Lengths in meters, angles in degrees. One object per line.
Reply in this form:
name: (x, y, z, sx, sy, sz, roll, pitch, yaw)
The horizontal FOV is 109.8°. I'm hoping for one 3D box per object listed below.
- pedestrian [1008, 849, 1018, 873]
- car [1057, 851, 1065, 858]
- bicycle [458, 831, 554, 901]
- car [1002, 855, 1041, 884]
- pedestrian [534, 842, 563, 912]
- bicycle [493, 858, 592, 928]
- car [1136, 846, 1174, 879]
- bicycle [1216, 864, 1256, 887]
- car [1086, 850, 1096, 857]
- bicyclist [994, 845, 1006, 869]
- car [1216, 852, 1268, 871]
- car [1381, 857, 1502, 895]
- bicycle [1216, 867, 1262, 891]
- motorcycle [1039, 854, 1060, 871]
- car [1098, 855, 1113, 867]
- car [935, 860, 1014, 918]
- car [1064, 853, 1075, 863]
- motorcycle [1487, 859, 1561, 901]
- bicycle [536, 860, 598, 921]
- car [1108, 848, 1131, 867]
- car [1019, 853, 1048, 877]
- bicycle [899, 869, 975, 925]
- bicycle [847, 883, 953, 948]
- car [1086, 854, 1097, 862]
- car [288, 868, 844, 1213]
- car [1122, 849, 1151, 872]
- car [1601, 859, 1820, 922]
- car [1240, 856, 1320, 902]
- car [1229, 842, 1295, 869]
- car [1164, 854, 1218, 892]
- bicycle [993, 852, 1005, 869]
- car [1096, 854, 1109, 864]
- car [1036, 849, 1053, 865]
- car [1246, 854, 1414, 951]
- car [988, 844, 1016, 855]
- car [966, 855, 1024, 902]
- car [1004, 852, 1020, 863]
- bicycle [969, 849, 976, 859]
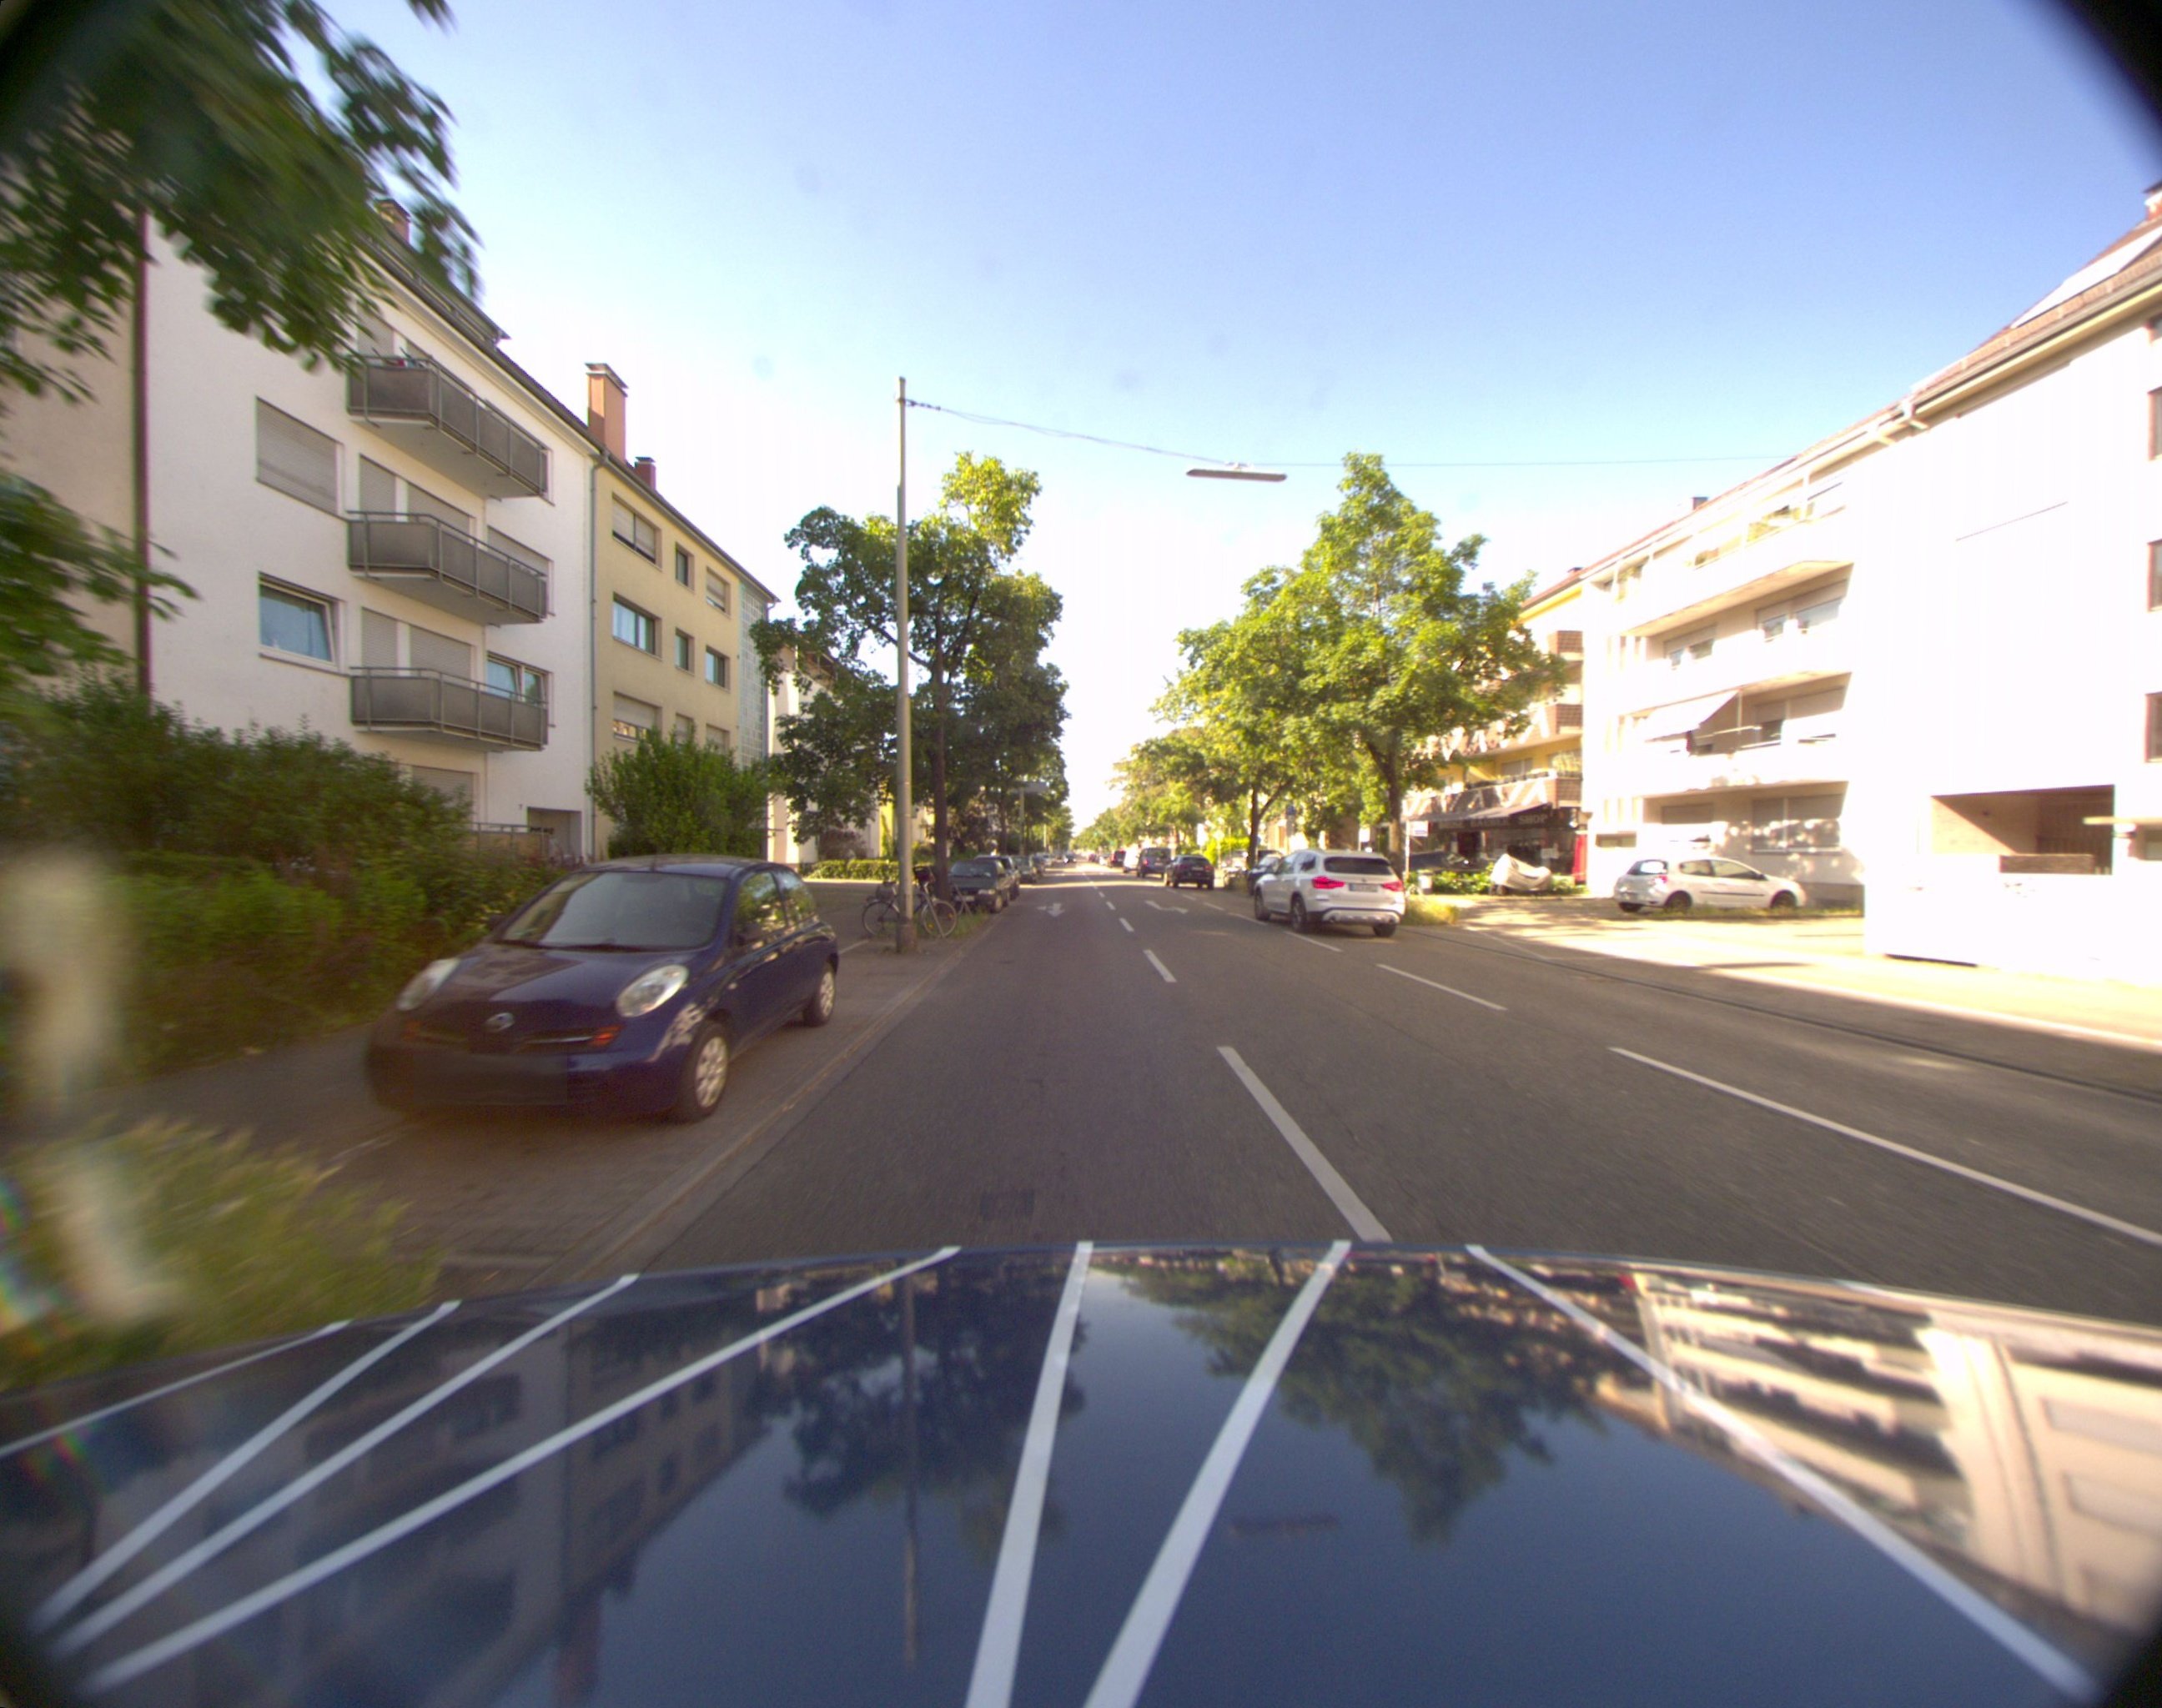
pedestrian: (-4.780, 0.463, 53.431, 0.671, 1.672, 0.775, 1, 1, -1)
car: (-4.917, 0.101, 185.436, 1.823, 1.542, 4.303, 1, 0, 0)
bicycle: (-11.447, 0.228, 15.199, 0.593, 1.280, 1.689, 3, 0, 0)
car: (-3.063, 0.765, 39.715, 1.696, 1.419, 4.147, 1, 0, 0)
pedestrian: (-13.401, 0.577, 19.128, 0.365, 1.727, 0.366, -3, 1, -7)
bicycle: (-10.705, 0.736, 15.183, 0.624, 1.280, 1.842, 3, 0, 0)
car: (4.680, 0.516, 48.771, 1.808, 1.900, 4.711, 3, 0, -1)
bicycle: (7.827, 1.092, 38.324, 1.932, 1.128, 0.463, 0, 0, 27)
car: (2.009, -0.068, 152.938, 1.585, 1.443, 3.743, 1, 0, -3)
bicyclist: (-6.138, 0.190, 57.456, 0.726, 1.783, 1.015, 2, 1, -1)
car: (13.025, 0.623, 61.590, 3.918, 1.480, 1.632, 0, 0, 0)
car: (14.112, 0.855, 29.948, 3.994, 1.452, 1.734, 0, 0, 8)
bicycle: (7.318, 1.159, 35.197, 2.025, 1.085, 0.463, 0, 0, 22)
motorcycle: (-2.585, 0.703, 61.933, 0.701, 1.264, 2.426, 2, 0, -28)
car: (3.209, 0.915, 99.980, 1.738, 1.404, 4.191, 3, 0, -1)
car: (-2.851, 0.905, 21.109, 1.616, 1.375, 3.975, 1, 0, 0)
car: (-1.726, 0.583, 114.990, 1.654, 1.348, 4.303, 1, 0, 0)
motorcycle: (15.822, 0.934, 27.191, 2.154, 1.477, 0.782, 0, 0, 8)
bicycle: (-11.324, 0.777, 16.730, 1.535, 1.215, 0.464, 3, 1, 30)
car: (4.049, 0.343, 80.661, 2.022, 1.940, 5.177, 2, 0, -2)
car: (-3.066, 0.693, 49.979, 1.590, 1.388, 4.453, 2, 0, 0)
bicycle: (-3.276, 0.959, 17.401, 1.671, 1.230, 0.470, 0, 1, -39)
bicycle: (-3.249, 1.085, 13.673, 1.743, 1.016, 0.524, 3, 3, 7)
car: (1.893, 0.769, 137.841, 1.585, 1.443, 3.743, 1, 0, -3)
car: (-2.999, 0.927, 5.425, 1.564, 1.506, 3.653, 3, 0, -3)
car: (4.446, 0.484, 61.486, 1.820, 1.733, 4.492, 3, 0, -1)
car: (15.732, 0.888, 19.132, 3.997, 1.478, 1.881, 0, 0, -2)
car: (7.448, 0.883, 28.795, 1.727, 1.587, 4.134, -1, 0, -3)
car: (13.018, 0.115, 54.669, 4.334, 1.868, 1.876, 0, 0, -24)
car: (5.020, 0.809, 35.253, 1.723, 1.557, 4.342, 3, 0, -1)
bicycle: (-6.180, 0.458, 57.528, 0.700, 1.239, 1.821, 2, 0, -1)
car: (3.279, 0.724, 117.308, 1.585, 1.443, 3.743, 1, 0, -3)
car: (-3.920, 0.266, 82.573, 1.774, 1.649, 4.340, 2, 0, -2)
car: (4.987, 0.870, 15.986, 1.811, 1.638, 4.671, 3, 0, -2)
car: (-11.952, -0.713, 115.201, 3.997, 1.432, 1.831, 4, 0, -1)
car: (-2.955, 0.799, 26.937, 1.719, 1.480, 4.233, 1, 0, -2)
car: (-8.514, 0.419, 93.984, 1.536, 1.348, 3.717, 3, 0, -1)
bicycle: (-11.461, 0.003, 80.285, 0.456, 0.987, 1.742, 3, 2, -1)
